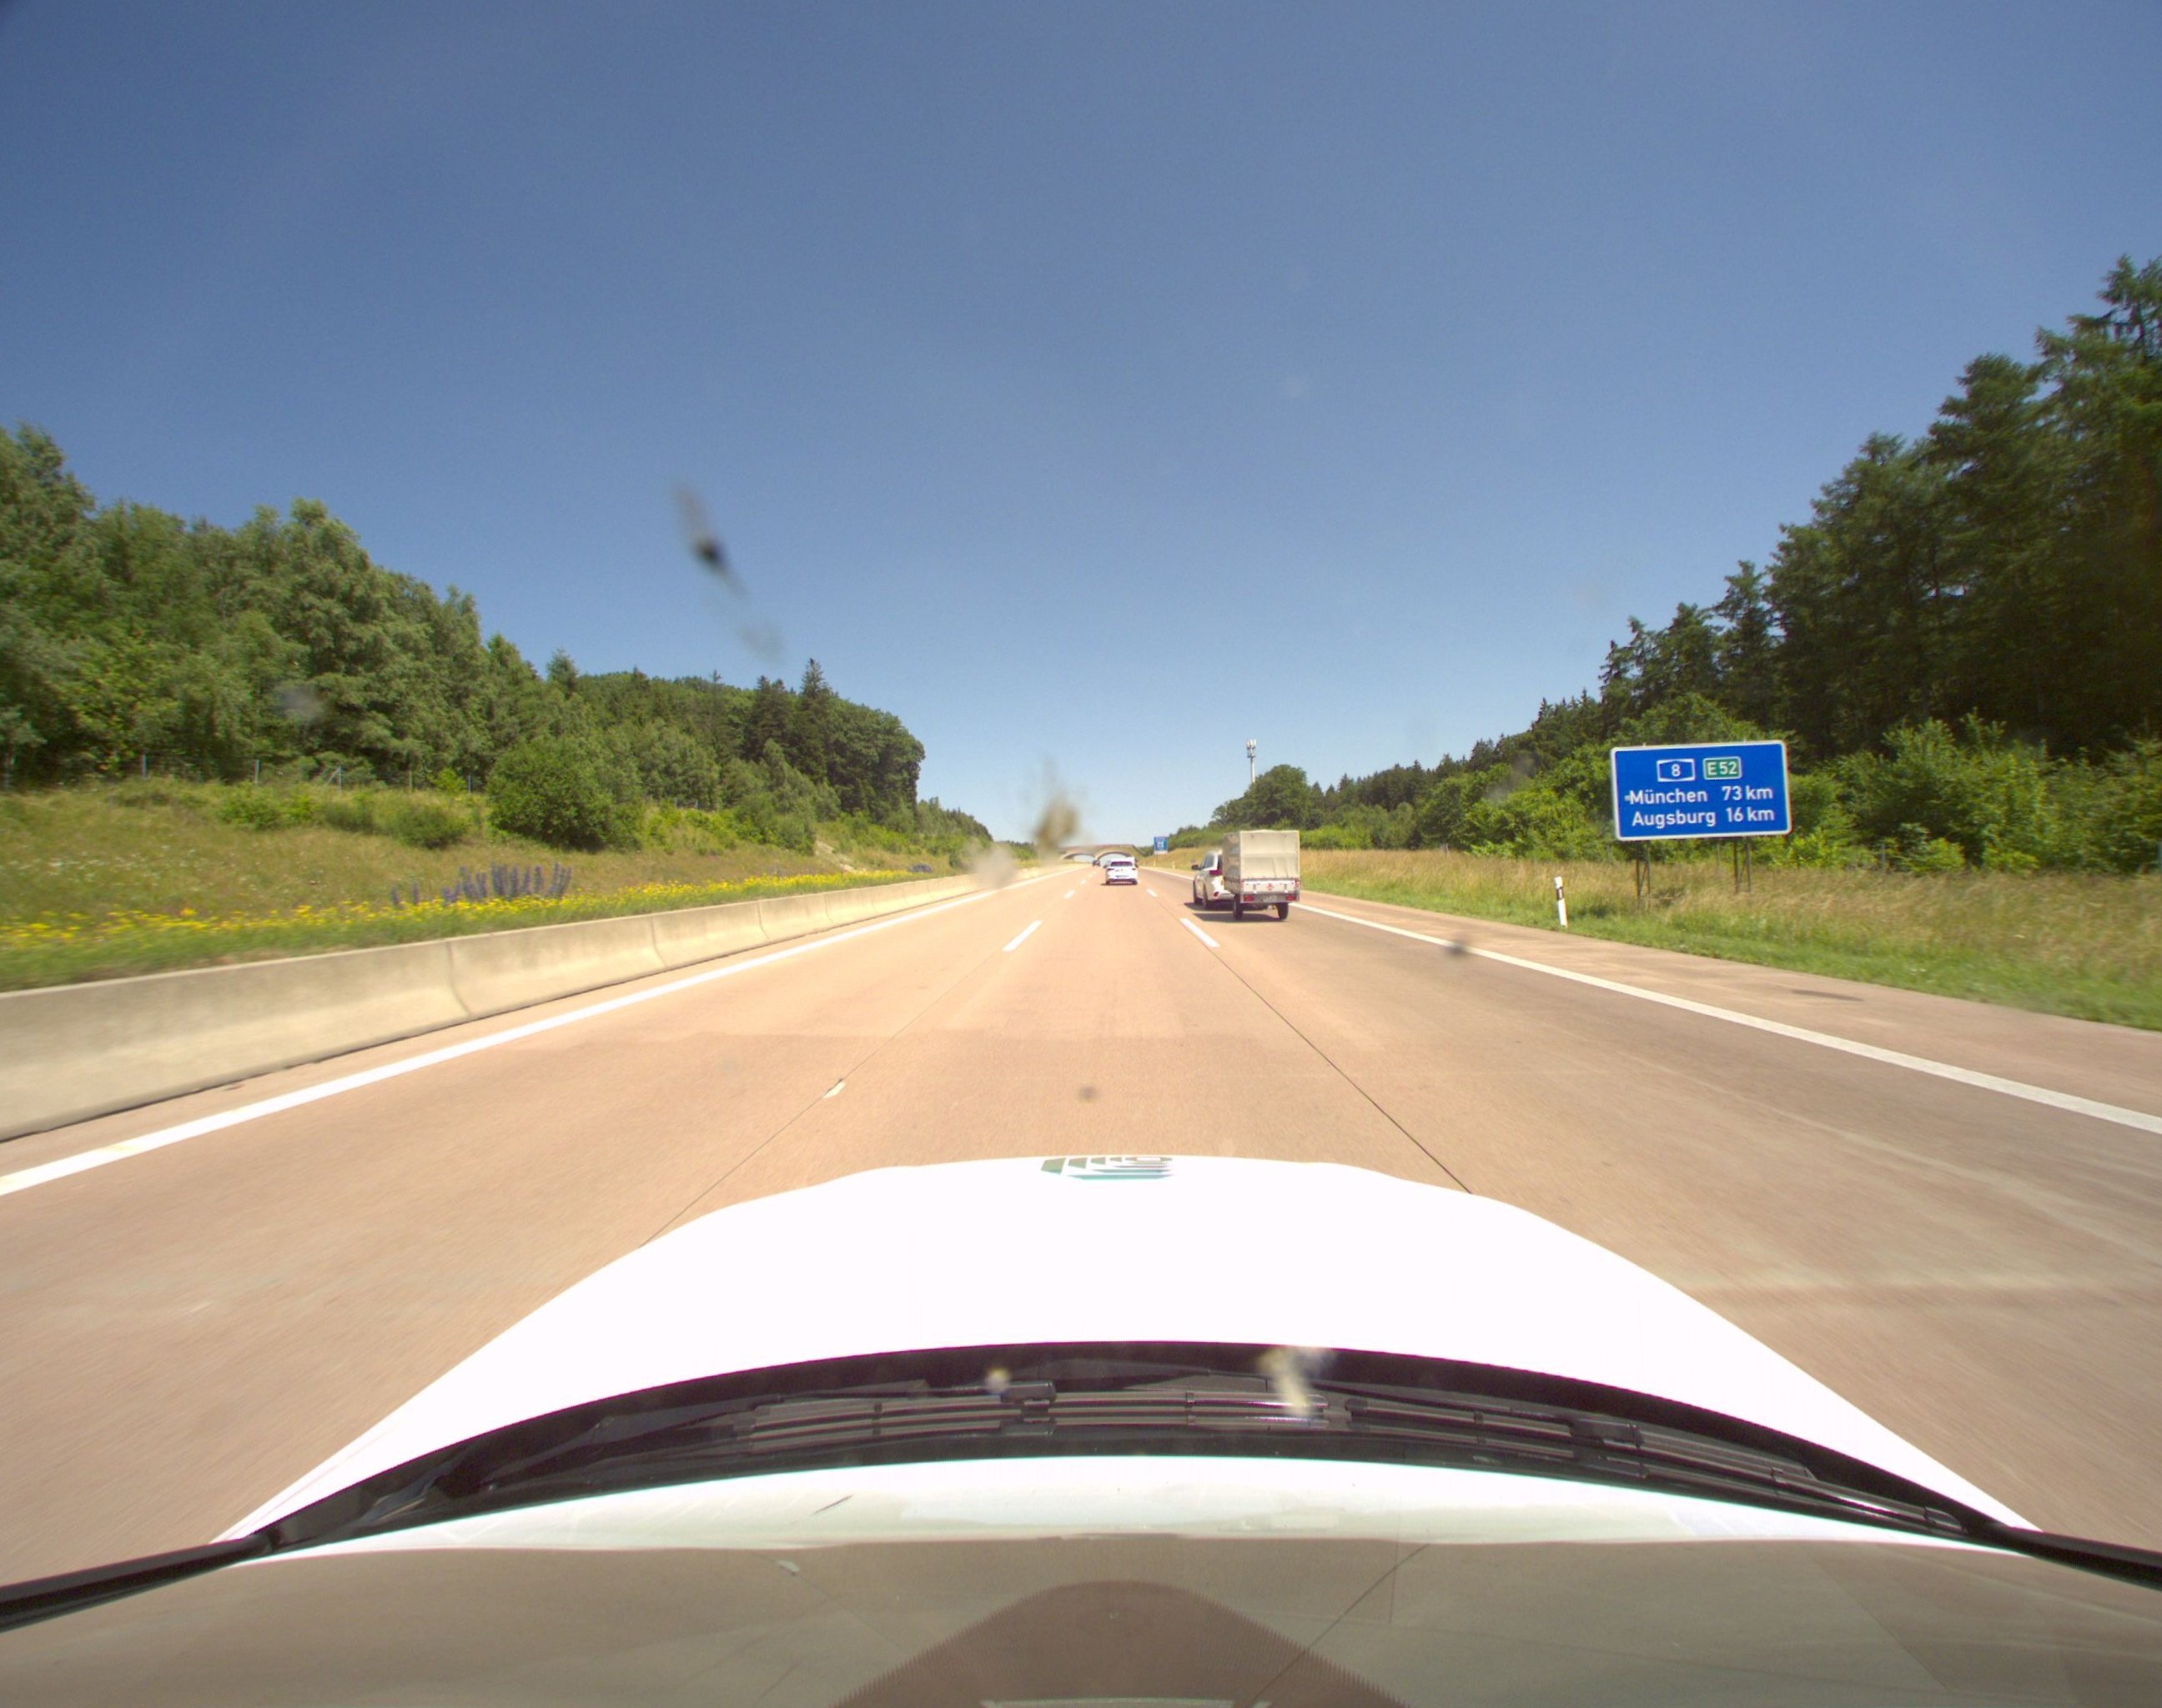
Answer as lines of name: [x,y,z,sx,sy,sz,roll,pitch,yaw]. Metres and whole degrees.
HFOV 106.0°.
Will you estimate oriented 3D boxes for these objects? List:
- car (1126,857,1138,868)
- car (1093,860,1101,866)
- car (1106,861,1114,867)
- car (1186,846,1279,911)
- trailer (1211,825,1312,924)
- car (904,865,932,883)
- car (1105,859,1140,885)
car: [9.879,1.622,157.324,2.101,2.054,4.005,-1,0,4]
car: [4.238,2.444,215.249,1.882,1.463,4.005,-1,0,4]
car: [7.121,2.387,196.709,1.883,1.463,4.002,0,0,2]
car: [4.417,0.670,24.579,1.884,1.728,5.186,-1,0,1]
trailer: [4.327,0.464,20.077,1.651,2.164,4.017,-1,-1,2]
car: [-16.298,1.993,81.638,1.885,1.738,4.463,-2,0,0]
car: [2.299,0.968,45.773,1.884,1.398,4.002,0,0,2]
